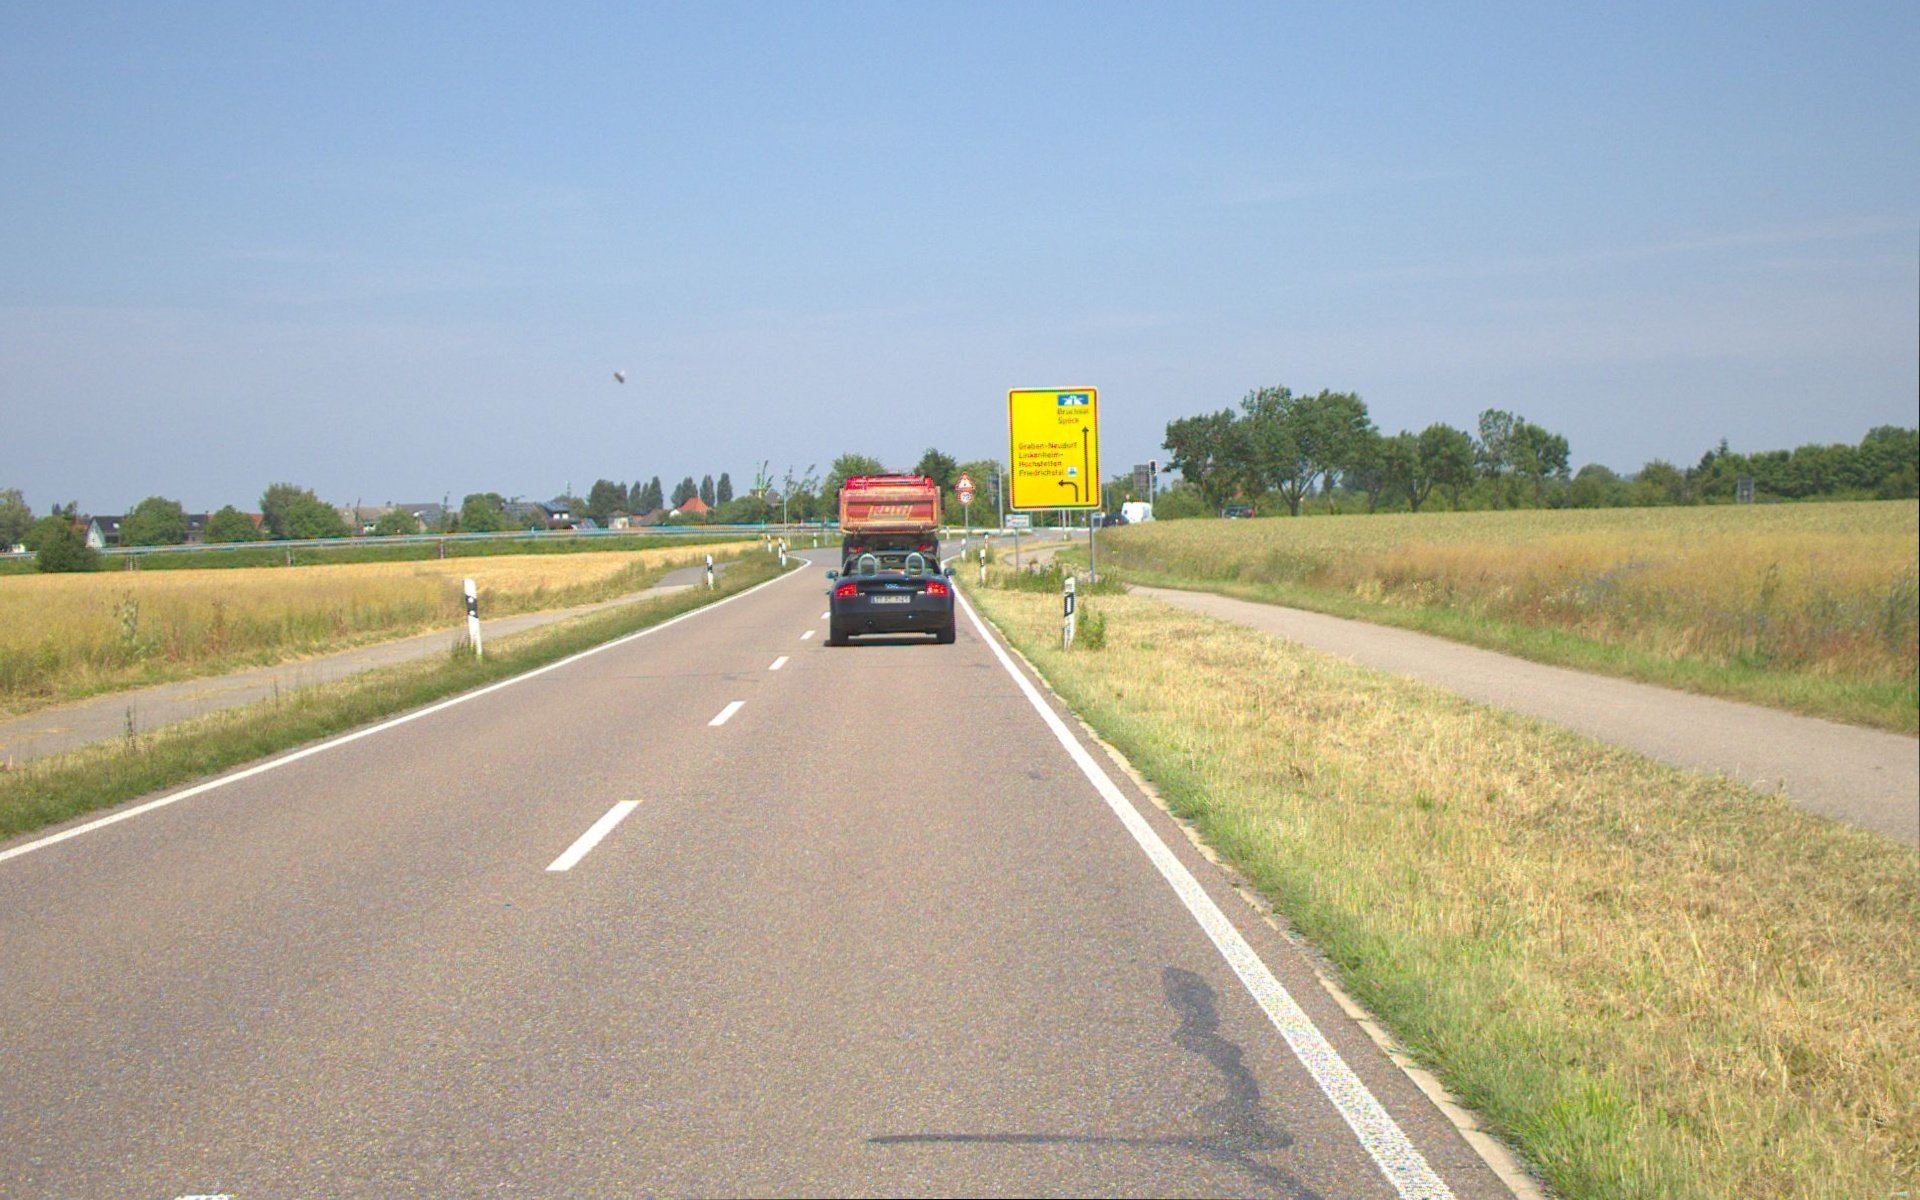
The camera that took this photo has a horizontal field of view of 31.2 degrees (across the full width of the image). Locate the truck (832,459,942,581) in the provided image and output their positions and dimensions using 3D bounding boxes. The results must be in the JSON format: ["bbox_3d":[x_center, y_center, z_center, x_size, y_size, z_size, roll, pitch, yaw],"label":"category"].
[{"bbox_3d":[-1.893,-2.045,90.108,2.714,3.042,8.165,0,1,-1],"label":"truck"}]

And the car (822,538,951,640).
[{"bbox_3d":[-1.023,-0.171,48.545,1.747,1.371,3.679,1,1,-1],"label":"car"}]
